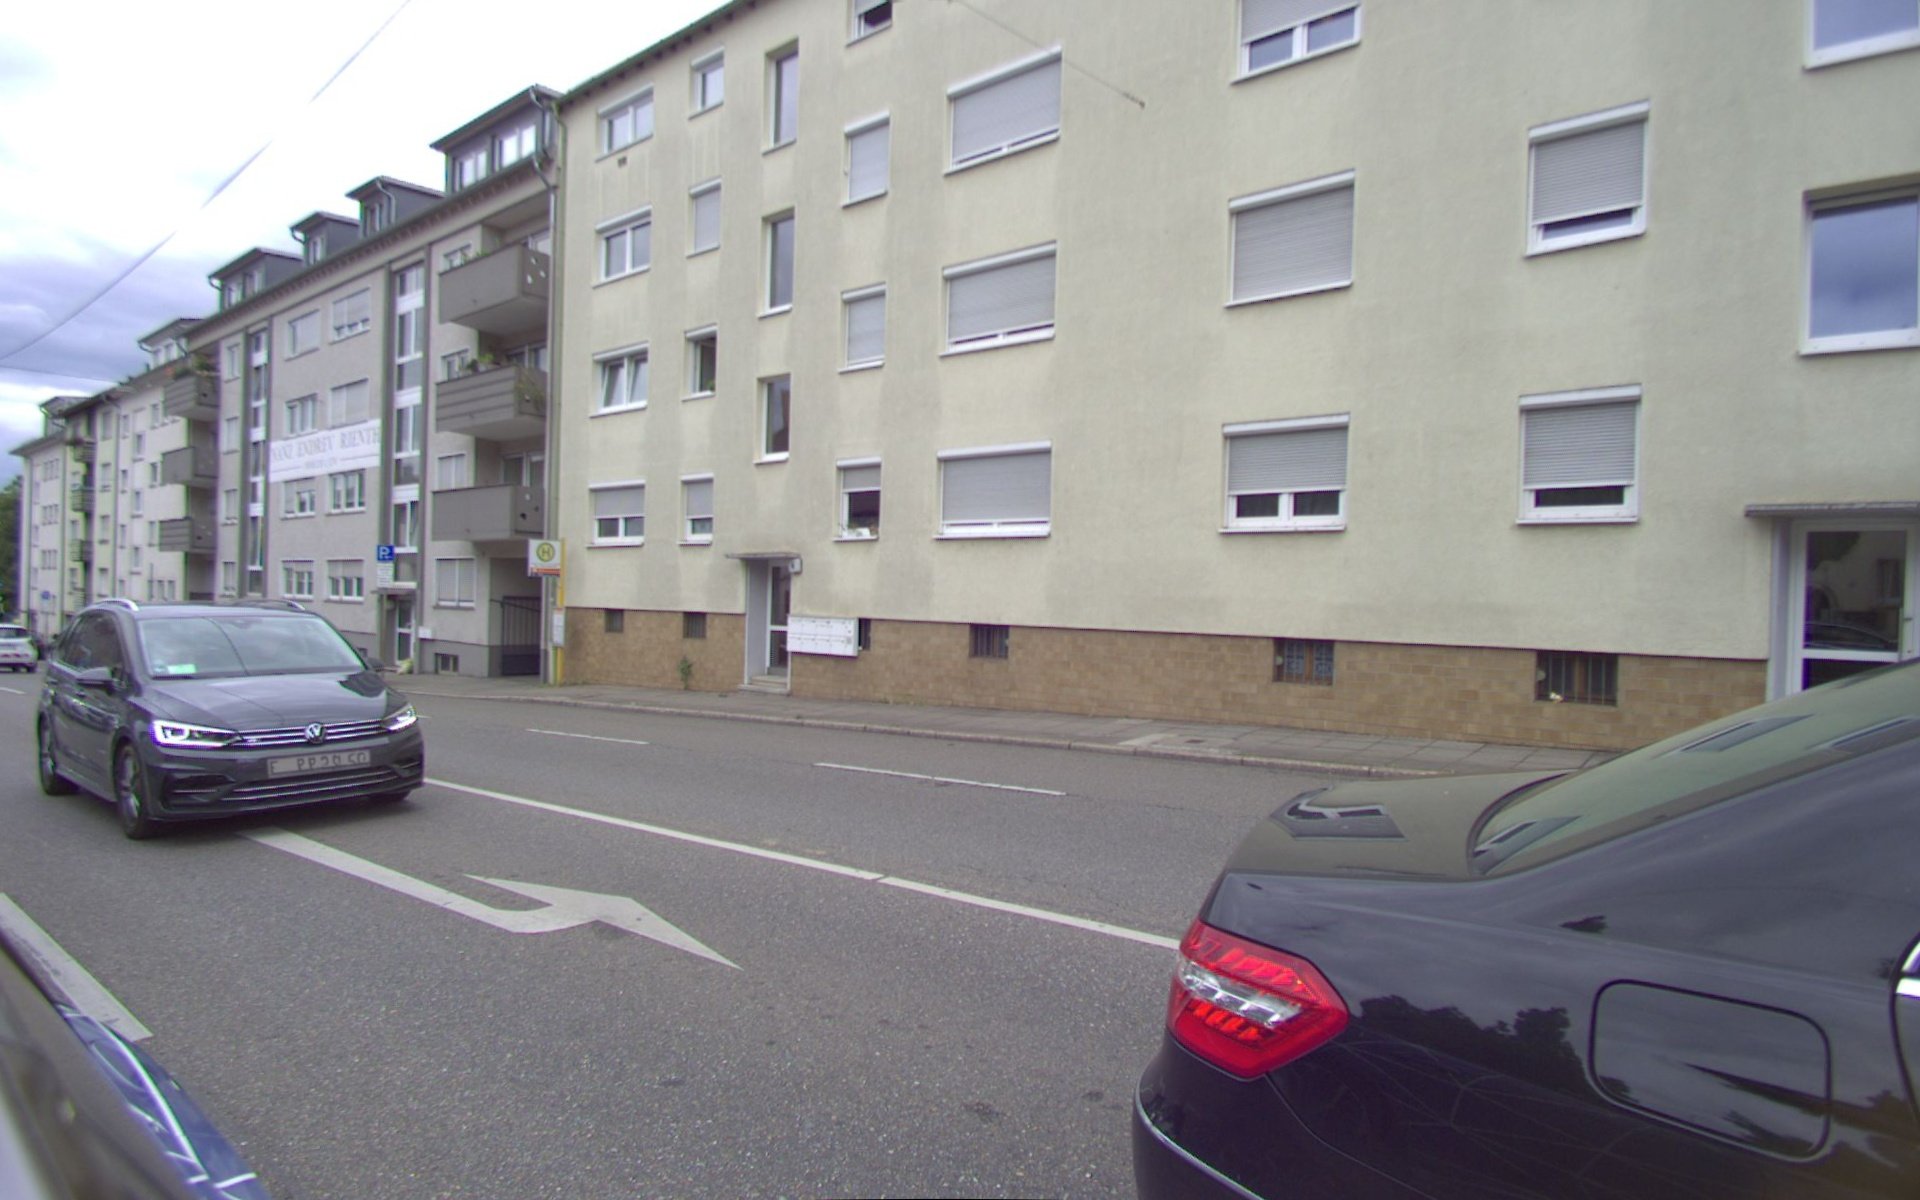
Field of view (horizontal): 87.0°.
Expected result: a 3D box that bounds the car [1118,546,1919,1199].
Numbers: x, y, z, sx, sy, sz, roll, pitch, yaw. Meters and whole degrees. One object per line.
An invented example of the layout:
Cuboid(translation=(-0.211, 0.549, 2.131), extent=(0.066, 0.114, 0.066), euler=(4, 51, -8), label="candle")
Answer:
Cuboid(translation=(2.704, 0.660, 0.712), extent=(4.840, 1.440, 1.973), euler=(-1, -2, 41), label="car")

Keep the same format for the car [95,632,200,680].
Cuboid(translation=(-26.246, 1.774, 32.678), extent=(3.533, 1.414, 1.755), euler=(-1, -3, 36), label="car")

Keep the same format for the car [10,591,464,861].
Cuboid(translation=(-6.024, 0.774, 8.222), extent=(4.474, 1.623, 1.840), euler=(-1, 0, 38), label="car")

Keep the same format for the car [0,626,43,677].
Cuboid(translation=(-30.874, 1.601, 32.263), extent=(4.078, 1.533, 1.753), euler=(-1, -2, 39), label="car")

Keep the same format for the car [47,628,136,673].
Cuboid(translation=(-33.161, 1.892, 38.634), extent=(3.533, 1.613, 1.755), euler=(-1, -3, 36), label="car")
